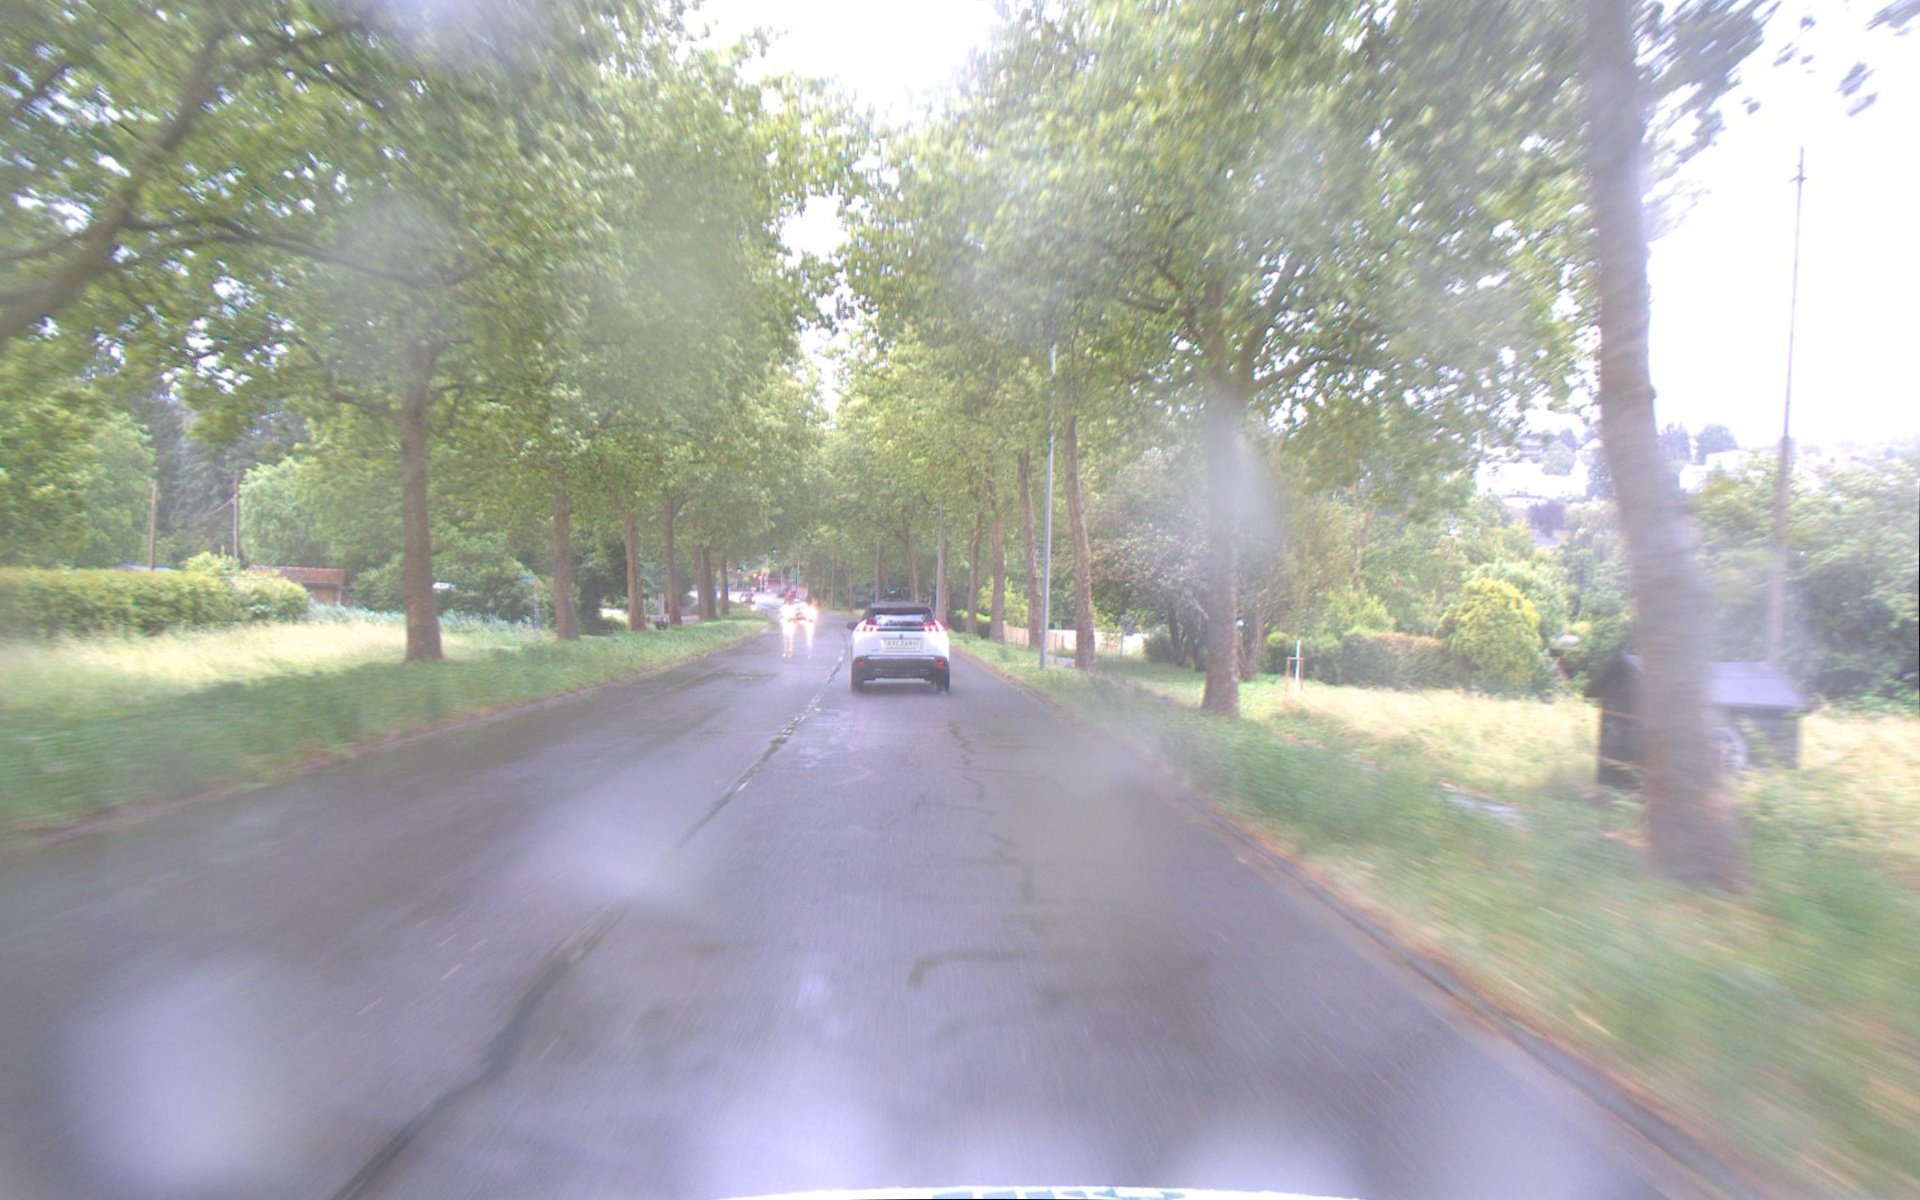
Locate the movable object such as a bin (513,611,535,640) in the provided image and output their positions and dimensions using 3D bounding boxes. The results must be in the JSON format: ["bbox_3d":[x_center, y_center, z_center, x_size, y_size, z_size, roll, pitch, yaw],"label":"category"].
[{"bbox_3d":[-22.333,1.305,84.717,0.944,1.447,0.964,2,-1,-7],"label":"movable object such as a bin"}]

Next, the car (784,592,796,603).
[{"bbox_3d":[-26.184,-0.358,254.638,1.791,1.624,3.650,2,0,-5],"label":"car"}]

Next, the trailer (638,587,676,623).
[{"bbox_3d":[-23.267,0.353,127.128,2.437,2.612,5.324,2,0,-7],"label":"trailer"}]

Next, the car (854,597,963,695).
[{"bbox_3d":[-1.004,0.783,30.125,1.759,1.606,3.841,2,0,-5],"label":"car"}]

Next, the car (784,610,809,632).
[{"bbox_3d":[-11.481,1.458,116.022,1.698,1.448,4.220,1,0,-6],"label":"car"}]
